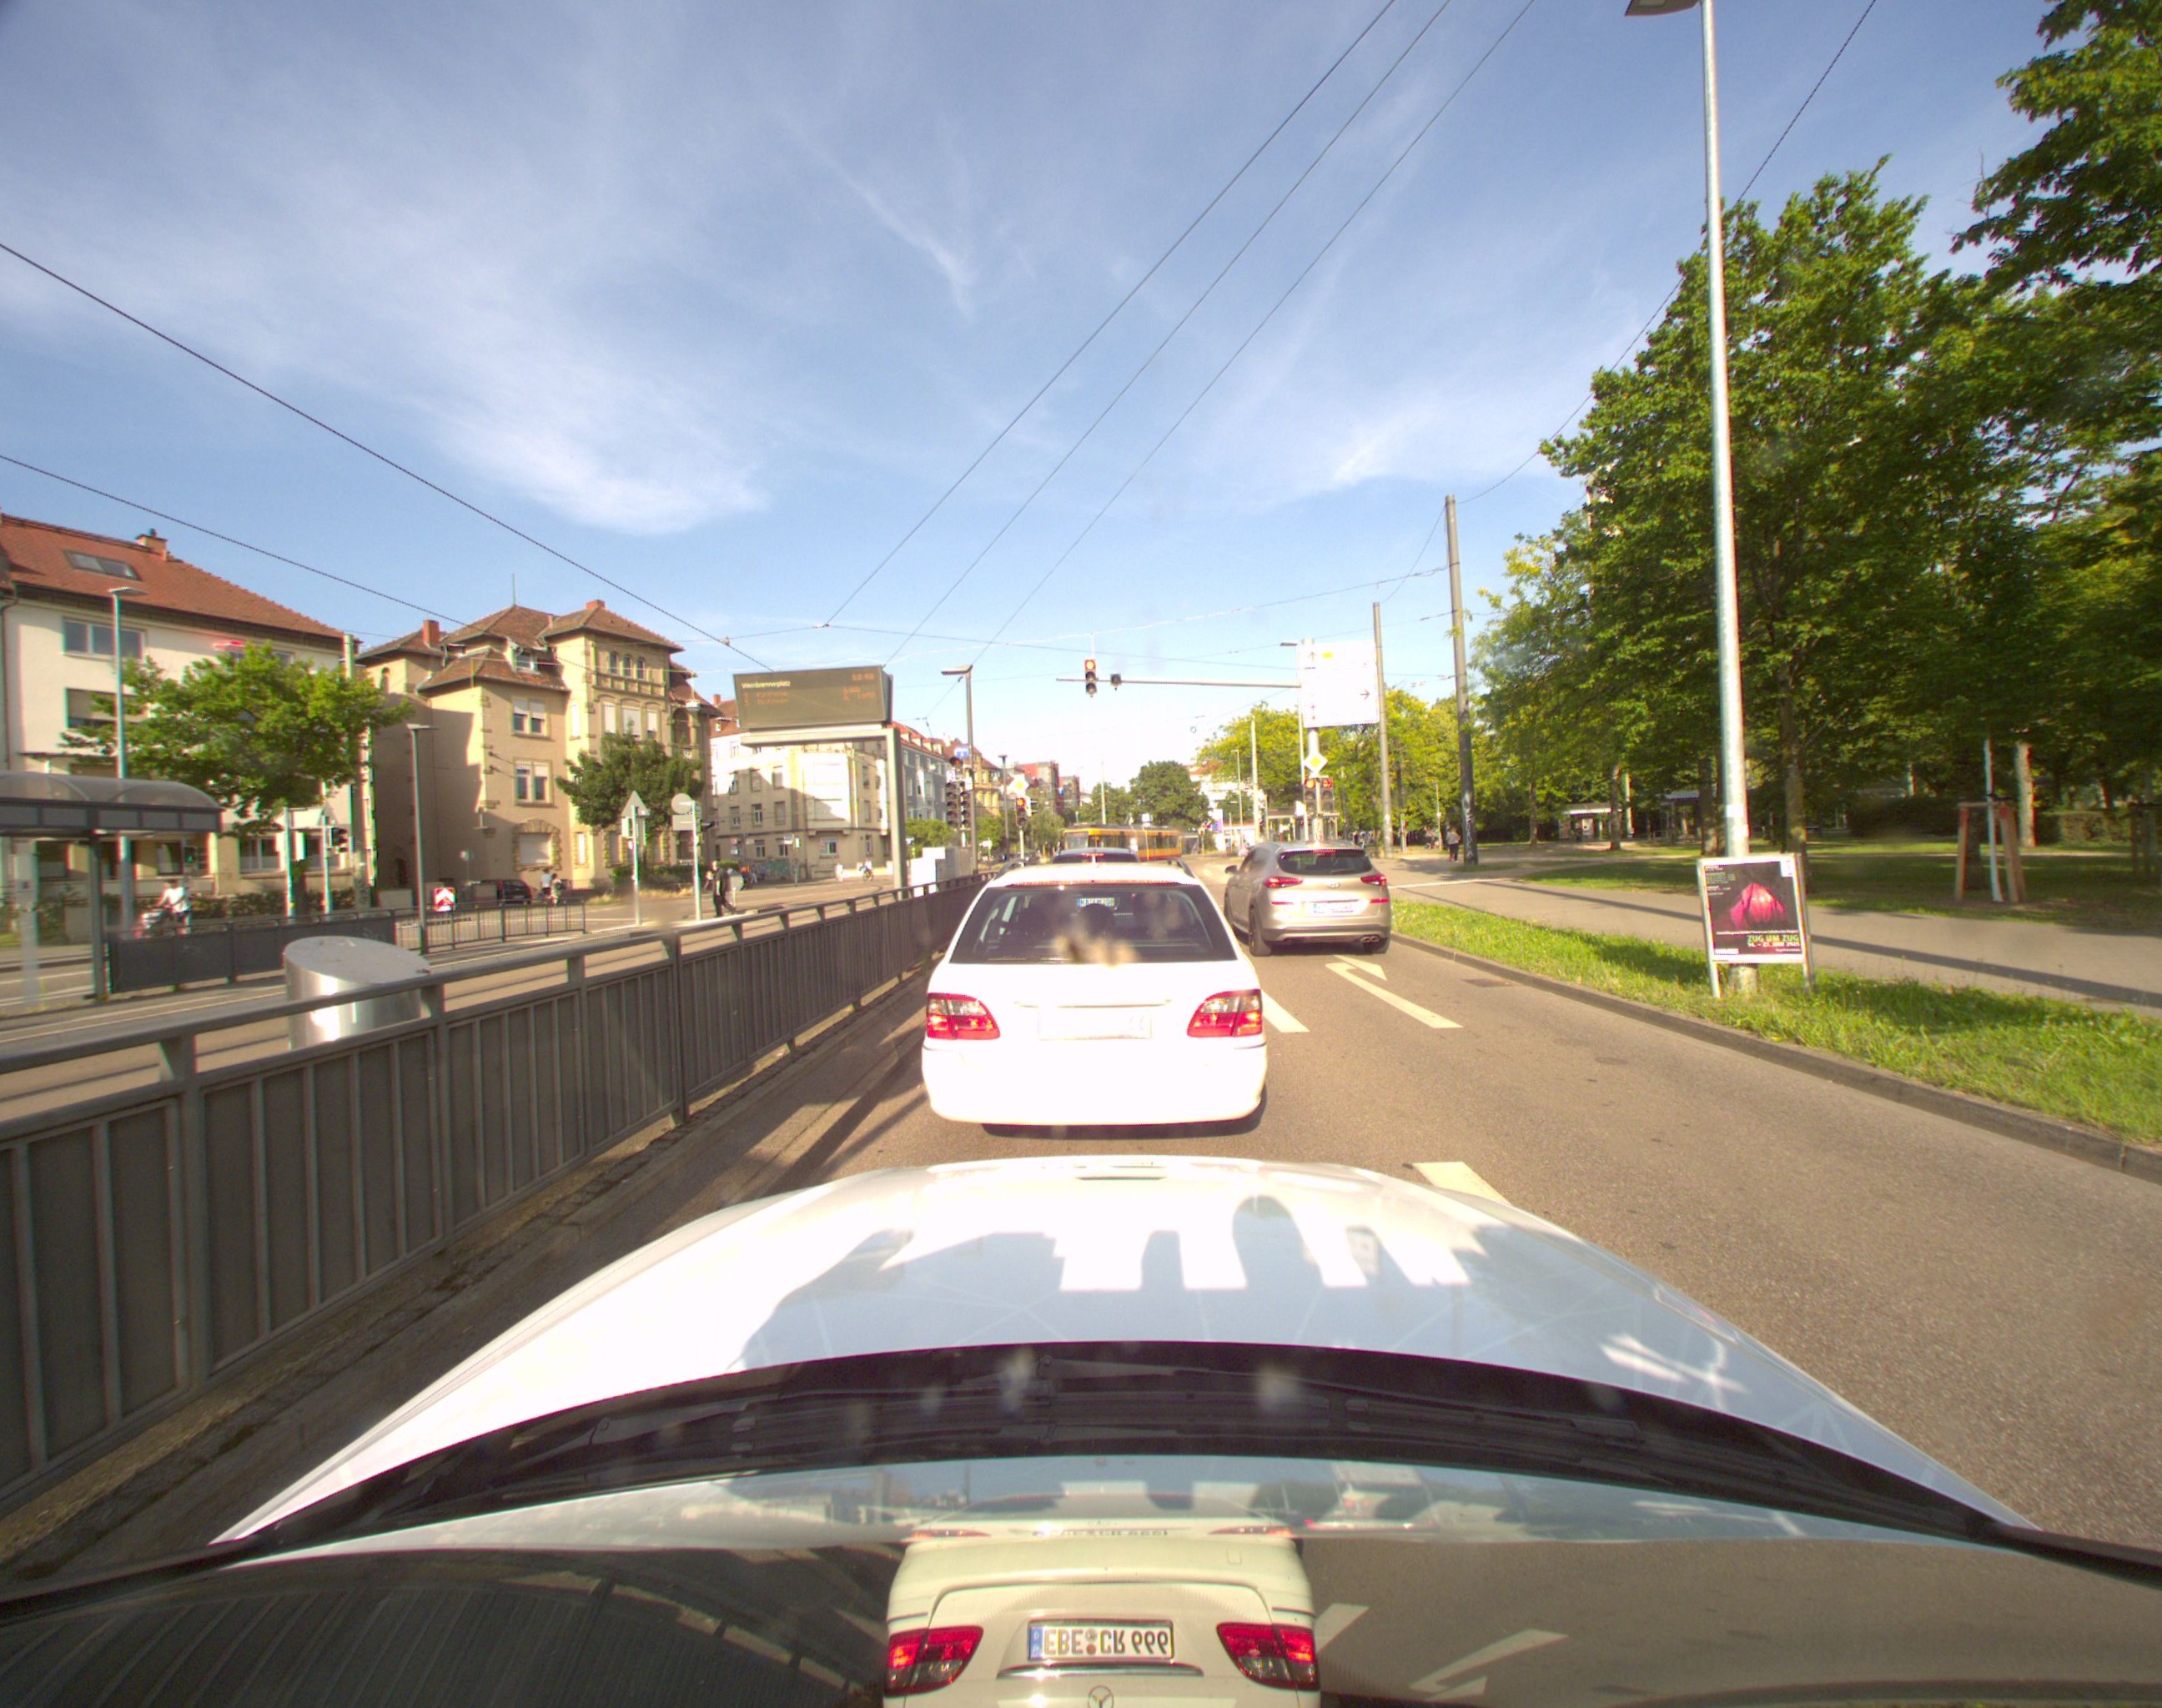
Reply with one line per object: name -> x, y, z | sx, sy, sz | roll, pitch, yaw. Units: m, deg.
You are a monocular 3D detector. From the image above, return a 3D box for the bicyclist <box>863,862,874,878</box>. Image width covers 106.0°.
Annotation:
bicyclist -> -15.161, 1.140, 58.136 | 0.511, 1.044, 0.680 | -3, 0, 1

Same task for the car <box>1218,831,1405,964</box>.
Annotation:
car -> 3.324, 0.565, 12.499 | 1.878, 1.651, 3.649 | -3, 0, 2

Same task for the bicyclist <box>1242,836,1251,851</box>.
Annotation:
bicyclist -> 16.616, -1.079, 81.728 | 0.856, 1.481, 0.791 | -3, 0, 9

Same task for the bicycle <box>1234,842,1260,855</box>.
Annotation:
bicycle -> 16.691, -0.523, 81.736 | 2.467, 1.213, 0.809 | -3, 0, 9

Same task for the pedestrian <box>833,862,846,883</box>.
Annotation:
pedestrian -> -18.544, 1.426, 62.529 | 0.626, 1.541, 0.711 | -3, 0, 1

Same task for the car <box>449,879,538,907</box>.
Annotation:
car -> -29.489, 1.915, 40.889 | 4.066, 1.310, 1.774 | -1, -1, 24

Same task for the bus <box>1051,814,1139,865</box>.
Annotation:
bus -> 1.368, -1.014, 64.299 | 3.083, 3.606, 12.435 | -1, 0, 20

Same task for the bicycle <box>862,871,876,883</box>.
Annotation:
bicycle -> -15.136, 1.635, 58.151 | 0.524, 0.834, 1.687 | -3, 0, 2

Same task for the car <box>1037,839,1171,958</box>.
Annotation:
car -> 0.385, 0.619, 13.254 | 1.878, 1.651, 3.649 | 0, 0, 2

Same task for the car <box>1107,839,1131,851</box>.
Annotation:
car -> 6.276, -1.509, 135.151 | 3.973, 2.014, 2.000 | -1, -1, 0

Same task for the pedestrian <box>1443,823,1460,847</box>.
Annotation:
pedestrian -> 29.062, -1.492, 63.882 | 0.797, 1.785, 0.838 | -3, 0, -3

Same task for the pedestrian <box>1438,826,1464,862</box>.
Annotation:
pedestrian -> 17.651, -0.476, 38.839 | 0.758, 1.636, 0.800 | -3, 0, -38

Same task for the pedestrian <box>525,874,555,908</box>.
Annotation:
pedestrian -> -25.921, 1.768, 39.018 | 0.822, 1.552, 0.786 | -3, 0, 23

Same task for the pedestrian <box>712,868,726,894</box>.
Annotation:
pedestrian -> -21.332, 1.575, 47.991 | 0.434, 1.500, 0.551 | -3, 0, 16

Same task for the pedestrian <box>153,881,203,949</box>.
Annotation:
pedestrian -> -24.253, 1.621, 21.888 | 0.549, 1.746, 0.758 | -3, 0, -22

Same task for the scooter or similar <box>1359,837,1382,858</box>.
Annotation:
scooter or similar -> 16.198, -0.359, 45.577 | 0.421, 1.117, 1.322 | -3, 0, -18

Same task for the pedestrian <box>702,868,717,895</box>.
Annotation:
pedestrian -> -21.635, 1.595, 47.420 | 0.434, 1.500, 0.551 | -3, 0, 16

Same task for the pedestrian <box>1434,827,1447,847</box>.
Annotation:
pedestrian -> 27.712, -1.317, 62.755 | 0.805, 1.487, 0.705 | -3, 0, 26

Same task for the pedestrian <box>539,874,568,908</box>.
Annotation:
pedestrian -> -25.089, 1.753, 38.743 | 0.822, 1.552, 0.786 | -3, 0, 23

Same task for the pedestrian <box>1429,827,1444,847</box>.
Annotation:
pedestrian -> 28.047, -1.338, 64.260 | 0.813, 1.487, 0.698 | -3, 0, -9

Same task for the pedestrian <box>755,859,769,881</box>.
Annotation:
pedestrian -> -29.272, 1.455, 74.641 | 0.768, 2.013, 0.790 | -3, 0, 17

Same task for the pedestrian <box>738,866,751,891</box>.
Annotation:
pedestrian -> -20.850, 1.496, 50.445 | 0.530, 1.500, 0.391 | -3, 0, 16

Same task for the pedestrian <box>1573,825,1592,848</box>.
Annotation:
pedestrian -> 35.767, -1.245, 58.090 | 0.831, 1.636, 0.804 | -3, 0, 8

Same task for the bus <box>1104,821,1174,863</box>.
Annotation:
bus -> 5.686, -0.998, 76.139 | 3.082, 3.606, 12.654 | -1, 0, 20

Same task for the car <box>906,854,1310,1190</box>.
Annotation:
car -> 0.175, 0.757, 5.495 | 1.789, 1.470, 3.649 | -1, 0, 2

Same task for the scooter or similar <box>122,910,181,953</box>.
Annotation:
scooter or similar -> -23.973, 1.990, 21.024 | 0.558, 0.988, 1.016 | -3, 0, -21

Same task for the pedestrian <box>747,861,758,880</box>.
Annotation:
pedestrian -> -29.709, 1.463, 73.748 | 0.615, 1.660, 0.589 | -3, 0, 17

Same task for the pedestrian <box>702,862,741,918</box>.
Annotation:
pedestrian -> -10.893, 1.084, 24.676 | 0.798, 1.645, 0.748 | -3, 0, -42

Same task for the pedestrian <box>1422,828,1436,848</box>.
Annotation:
pedestrian -> 27.199, -1.255, 63.671 | 0.820, 1.487, 0.692 | -3, 0, -40
